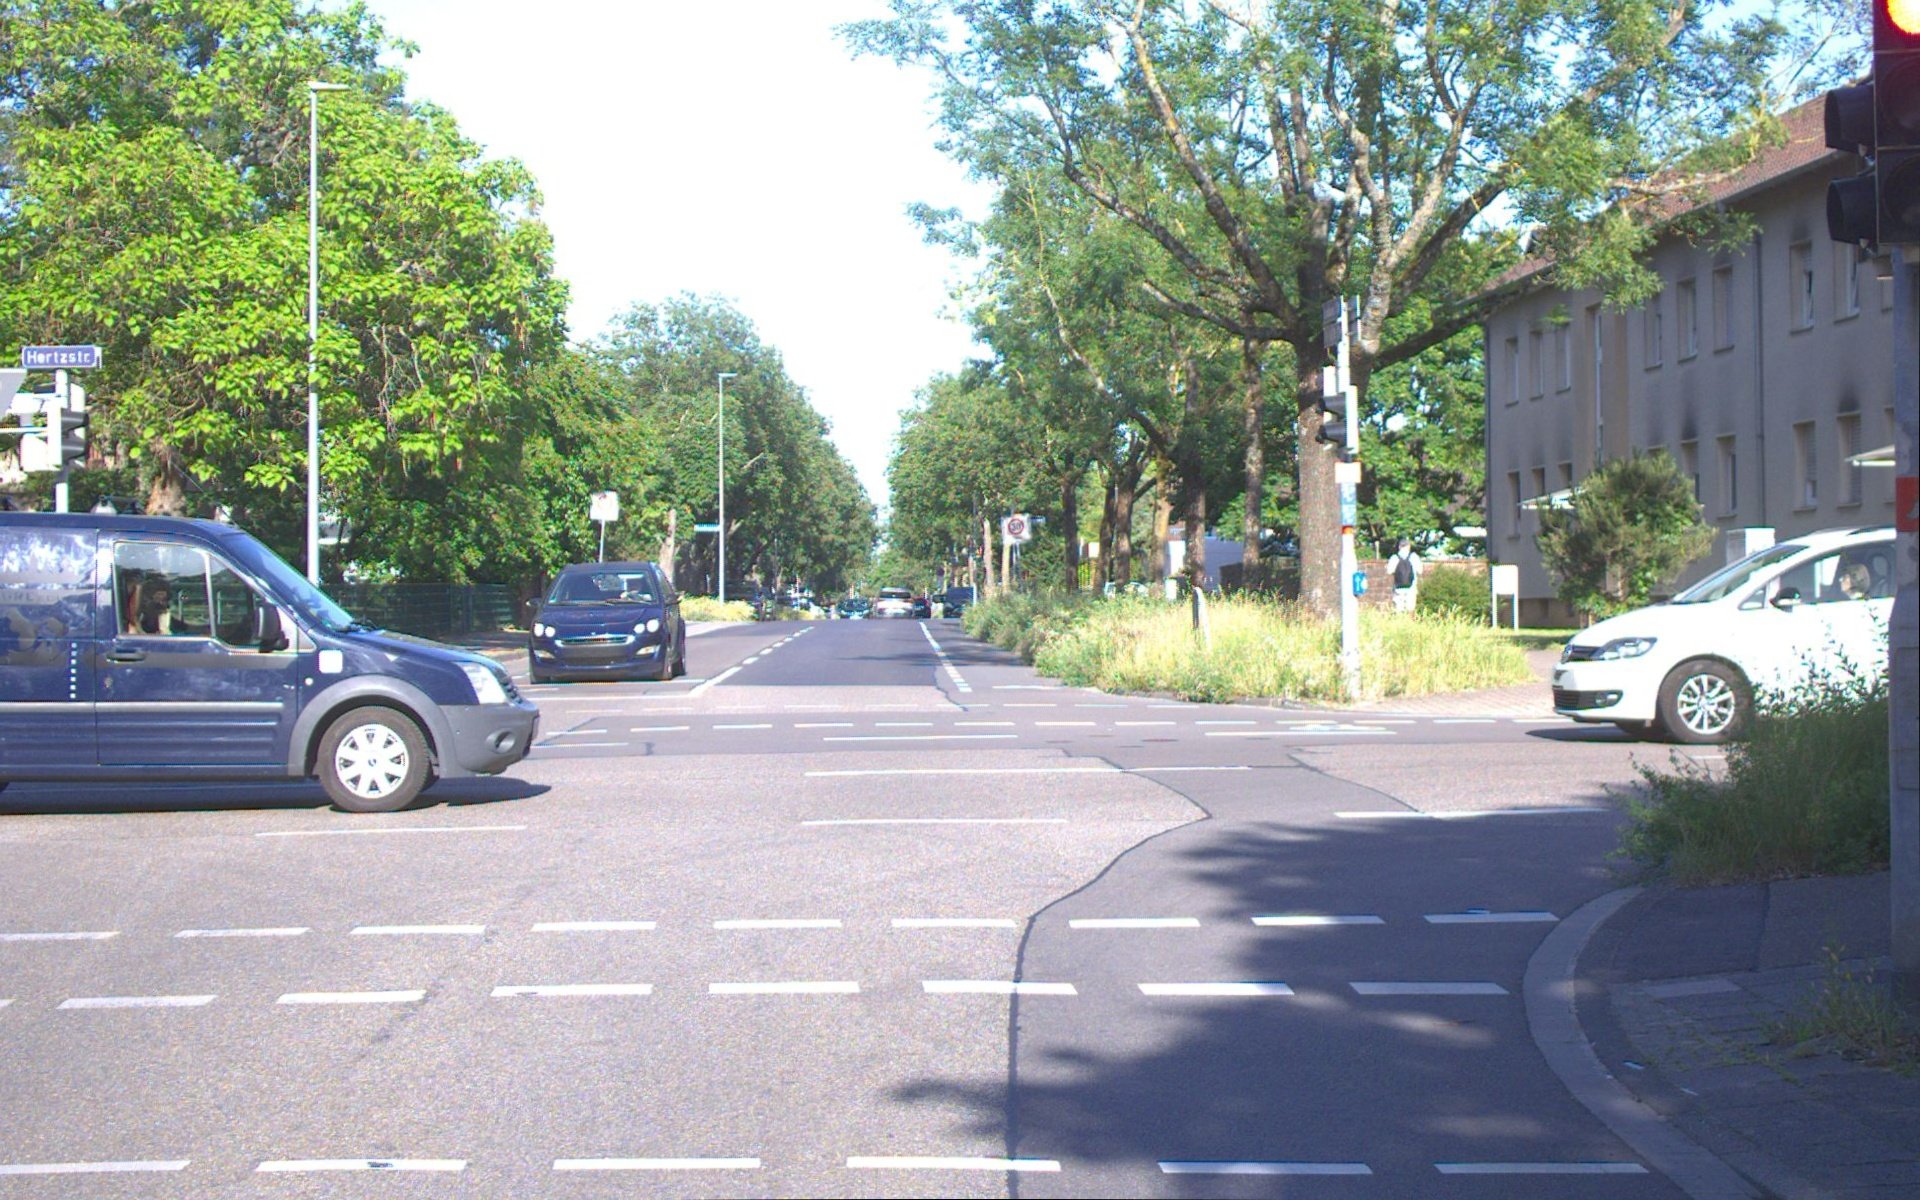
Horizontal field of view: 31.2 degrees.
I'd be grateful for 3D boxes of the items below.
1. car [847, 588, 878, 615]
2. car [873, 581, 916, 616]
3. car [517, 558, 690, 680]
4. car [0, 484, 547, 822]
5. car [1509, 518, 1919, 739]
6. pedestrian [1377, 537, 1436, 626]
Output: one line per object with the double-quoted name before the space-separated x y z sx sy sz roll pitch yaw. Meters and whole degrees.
"car" -6.015 0.093 212.358 1.758 1.619 3.268 0 1 0
"car" -2.837 -0.085 150.033 1.844 1.456 3.530 0 1 -1
"car" -4.303 0.204 41.897 1.711 1.381 3.471 0 1 0
"car" -4.697 0.289 20.491 4.344 1.881 1.860 -1 1 -4
"car" 6.323 0.210 25.615 4.106 1.558 1.758 1 0 -3
"pedestrian" 7.715 -0.323 59.417 0.842 1.488 0.924 2 1 -1
